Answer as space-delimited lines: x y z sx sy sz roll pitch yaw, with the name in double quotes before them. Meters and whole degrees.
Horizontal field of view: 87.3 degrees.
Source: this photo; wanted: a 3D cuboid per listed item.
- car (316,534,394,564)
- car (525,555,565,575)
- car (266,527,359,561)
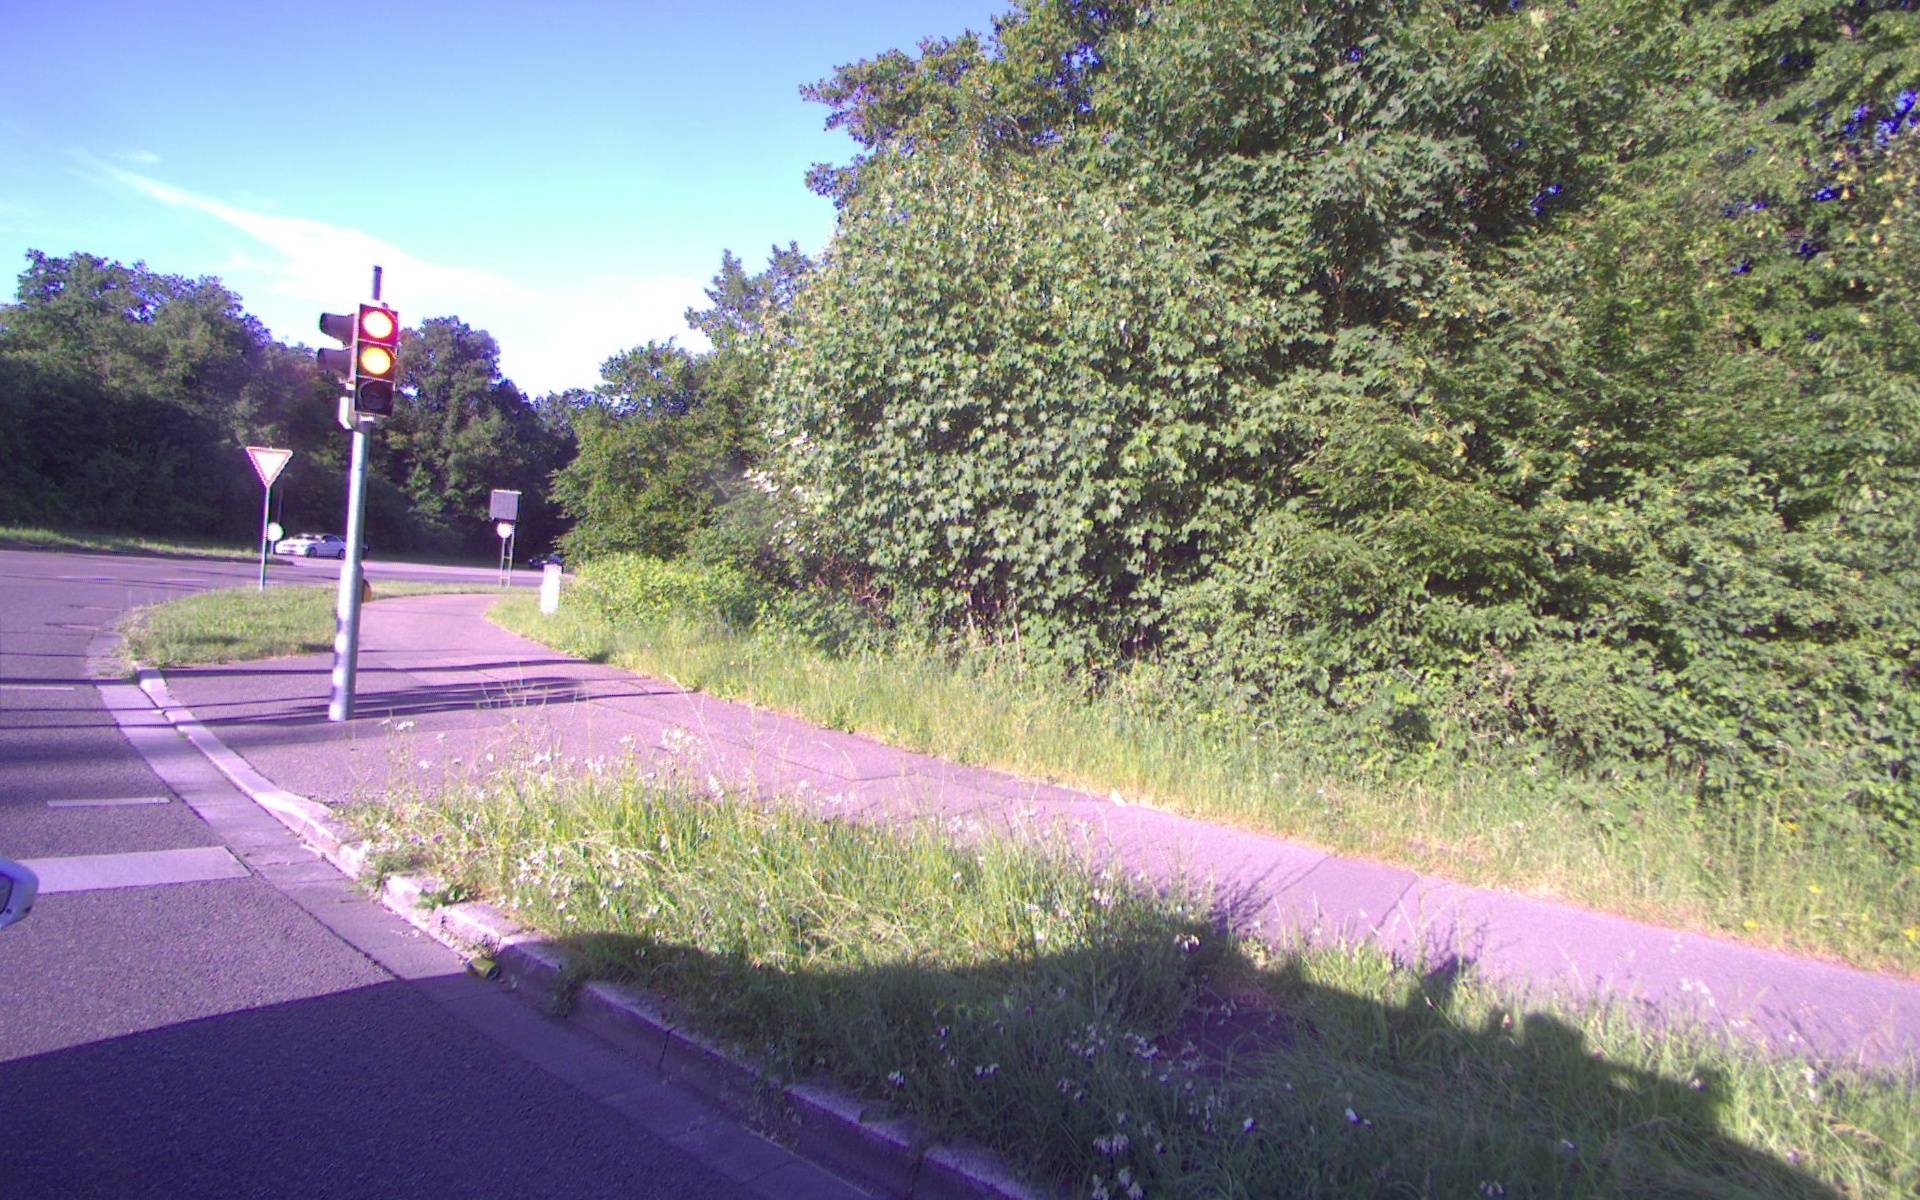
"car" -38.872 -3.253 64.790 1.963 1.454 4.806 6 0 1
"car" -39.883 -3.316 96.784 1.963 1.548 4.649 6 0 -2
"car" -36.256 -3.100 56.485 1.963 1.454 4.806 6 0 0
